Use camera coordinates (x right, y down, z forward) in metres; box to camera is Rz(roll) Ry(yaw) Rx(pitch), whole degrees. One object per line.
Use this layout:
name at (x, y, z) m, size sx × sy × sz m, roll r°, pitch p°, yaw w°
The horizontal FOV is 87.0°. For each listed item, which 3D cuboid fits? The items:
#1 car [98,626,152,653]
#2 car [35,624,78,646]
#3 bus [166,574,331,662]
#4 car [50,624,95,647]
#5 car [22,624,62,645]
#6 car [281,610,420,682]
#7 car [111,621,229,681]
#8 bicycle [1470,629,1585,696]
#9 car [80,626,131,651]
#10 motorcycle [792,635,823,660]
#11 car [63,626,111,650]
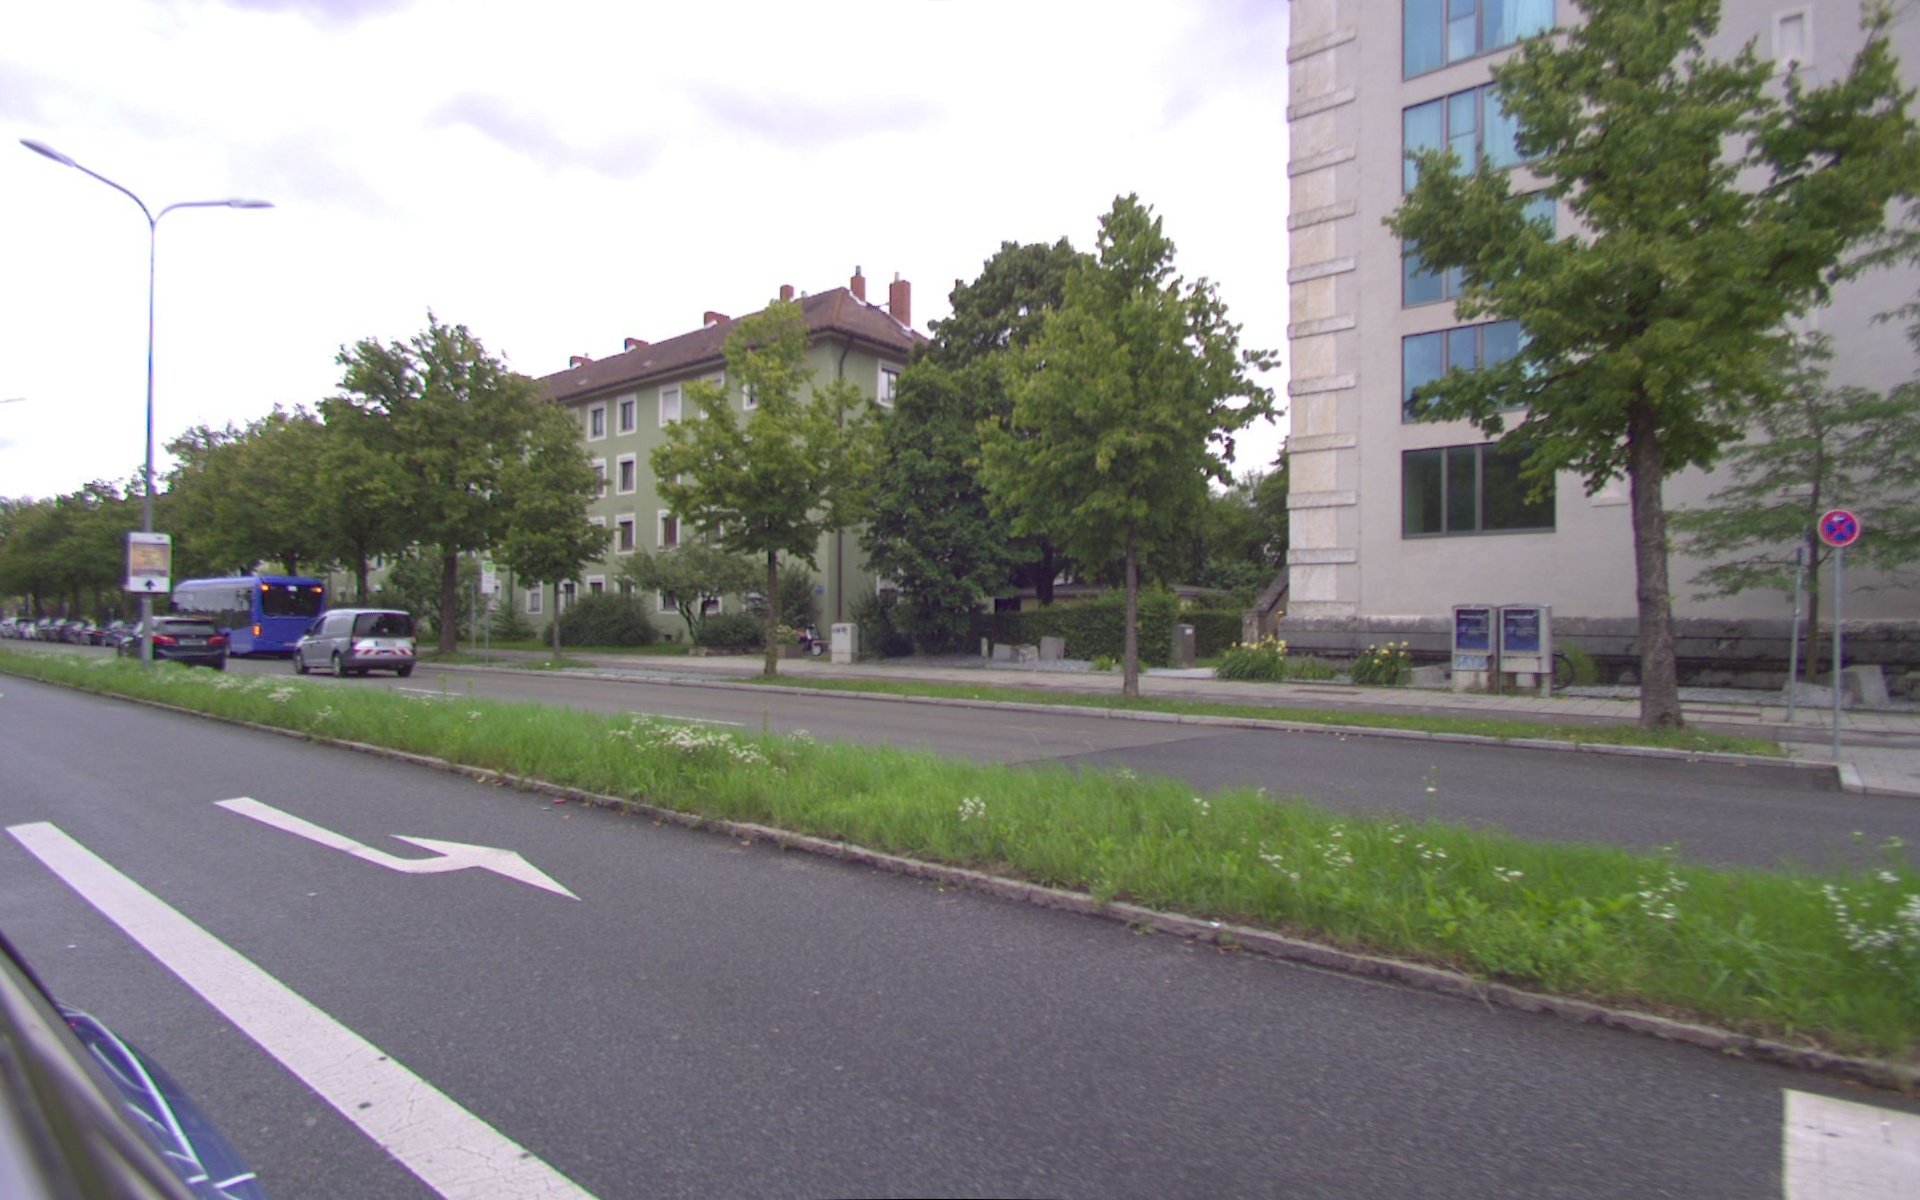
car at (-48.672, 2.259, 58.976) m, size 3.908 × 1.473 × 1.833 m, roll -1°, pitch 0°, yaw 41°
car at (-65.196, 2.520, 73.017) m, size 3.908 × 1.473 × 1.833 m, roll -1°, pitch 0°, yaw 41°
bus at (-30.976, 0.827, 43.726) m, size 12.038 × 3.369 × 2.717 m, roll -1°, pitch -3°, yaw 40°
car at (-60.585, 2.421, 69.075) m, size 3.908 × 1.473 × 1.833 m, roll -1°, pitch 0°, yaw 41°
car at (-69.215, 2.606, 76.291) m, size 3.908 × 1.473 × 1.833 m, roll -1°, pitch 0°, yaw 41°
car at (-16.667, 1.241, 27.608) m, size 4.426 × 1.825 × 1.762 m, roll -1°, pitch -4°, yaw 39°
car at (-22.250, 1.375, 28.457) m, size 4.287 × 1.582 × 1.681 m, roll -1°, pitch -2°, yaw 39°
bicycle at (10.687, 1.155, 19.102) m, size 1.825 × 1.190 × 0.539 m, roll -1°, pitch -2°, yaw 40°
car at (-52.422, 2.339, 62.069) m, size 3.908 × 1.473 × 1.833 m, roll -1°, pitch 0°, yaw 41°
motorcycle at (-5.573, 1.737, 36.907) m, size 1.234 × 0.889 × 0.429 m, roll -1°, pitch -2°, yaw 40°
car at (-56.828, 2.434, 65.867) m, size 3.908 × 1.473 × 1.833 m, roll -1°, pitch 0°, yaw 41°
